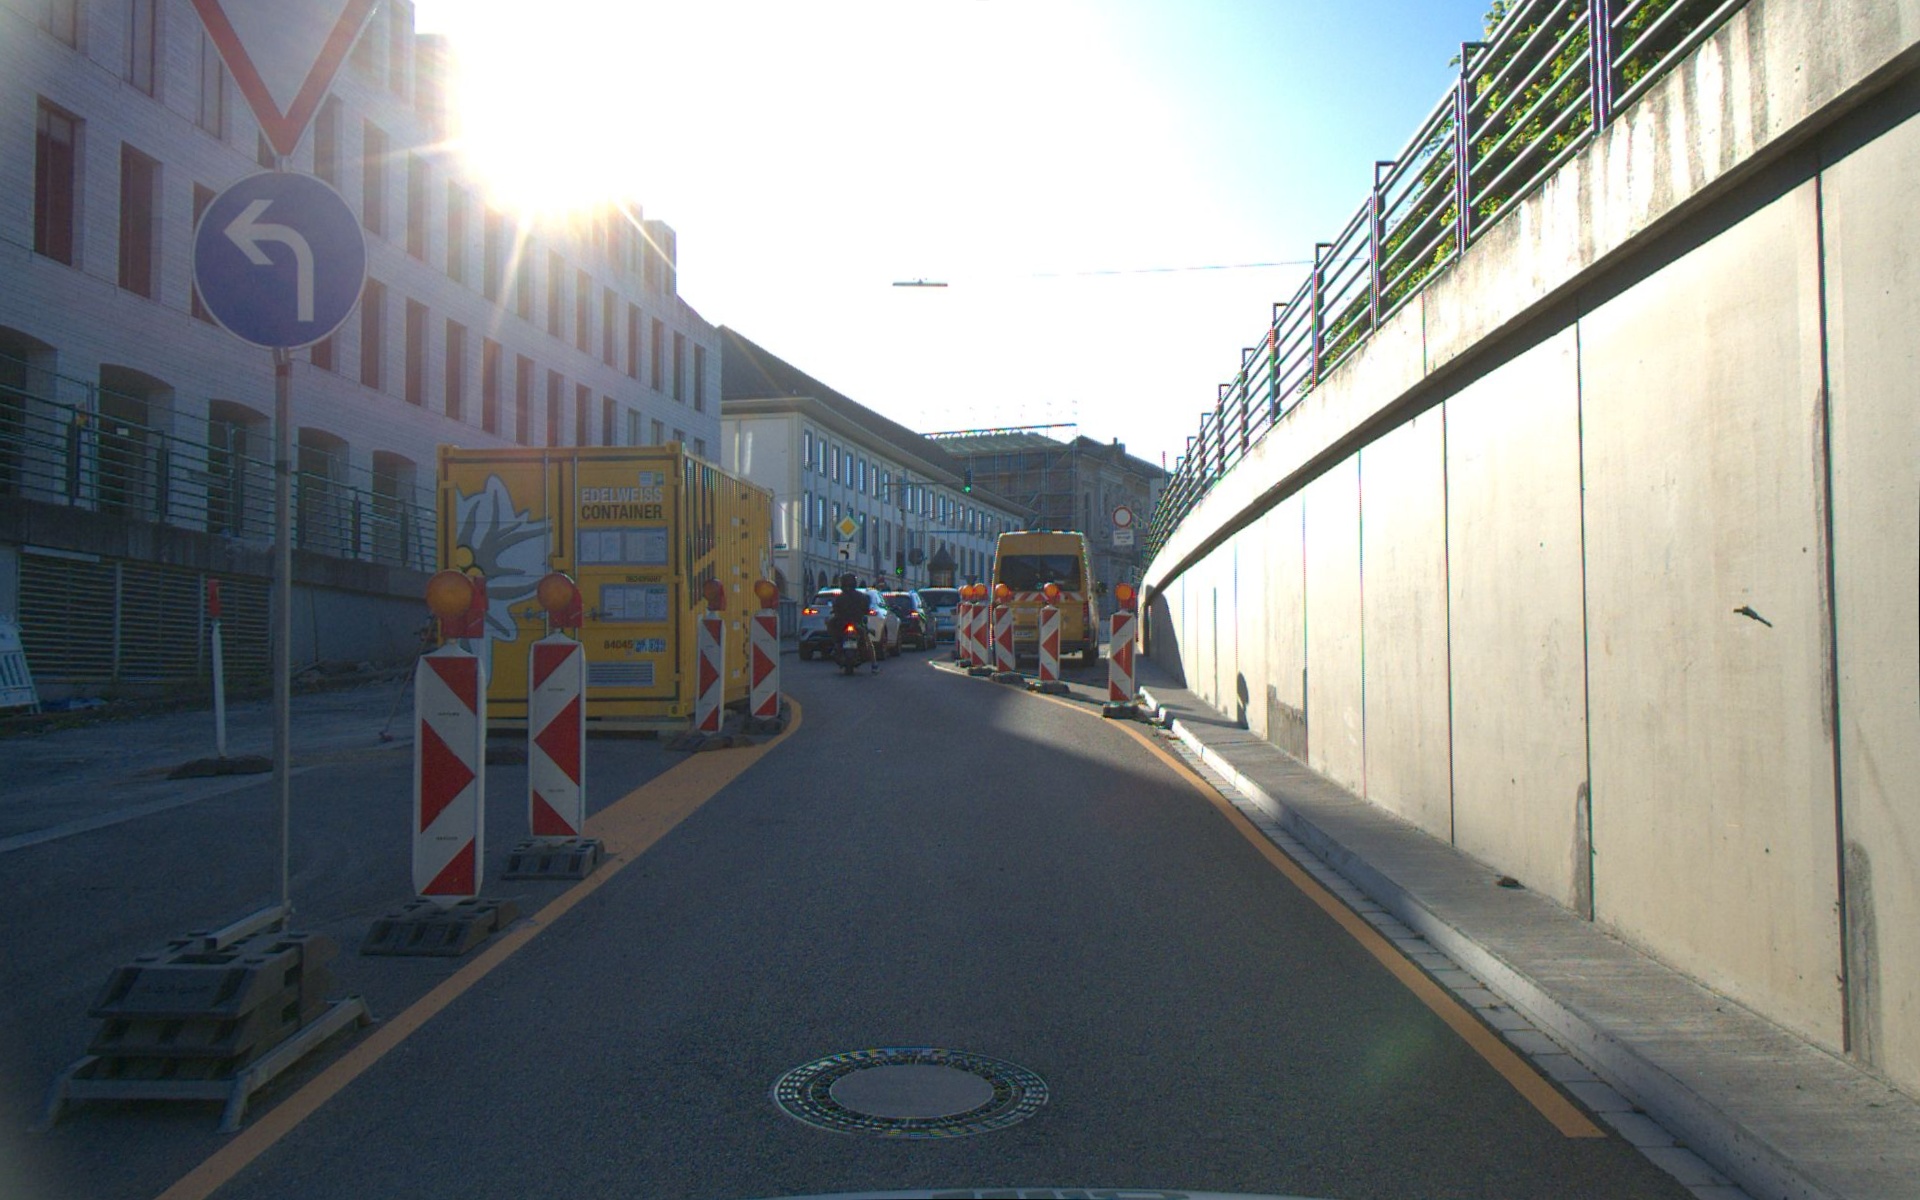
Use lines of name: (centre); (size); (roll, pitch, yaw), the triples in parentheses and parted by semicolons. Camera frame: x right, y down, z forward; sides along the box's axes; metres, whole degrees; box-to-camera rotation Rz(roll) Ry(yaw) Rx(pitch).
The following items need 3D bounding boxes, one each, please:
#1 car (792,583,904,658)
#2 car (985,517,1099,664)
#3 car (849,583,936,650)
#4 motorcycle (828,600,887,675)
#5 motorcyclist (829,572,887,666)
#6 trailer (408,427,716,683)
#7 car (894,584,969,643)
car: (-2.333, 0.398, 35.536); (1.820, 1.498, 4.002); (1, 0, 4)
car: (1.785, -0.162, 33.844); (2.067, 2.670, 6.991); (-1, 0, 5)
car: (-1.656, 0.463, 41.910); (1.737, 1.577, 4.108); (-1, -2, 4)
motorcycle: (-1.811, 0.619, 28.812); (0.888, 1.204, 2.575); (0, 1, -7)
motorcyclist: (-1.779, 0.313, 28.808); (0.936, 1.587, 1.237); (0, 1, -7)
trailer: (-6.769, -0.689, 29.756); (2.587, 3.732, 8.753); (-4, 0, 4)
car: (-0.844, 0.400, 51.374); (1.765, 1.751, 4.166); (0, 0, 7)
